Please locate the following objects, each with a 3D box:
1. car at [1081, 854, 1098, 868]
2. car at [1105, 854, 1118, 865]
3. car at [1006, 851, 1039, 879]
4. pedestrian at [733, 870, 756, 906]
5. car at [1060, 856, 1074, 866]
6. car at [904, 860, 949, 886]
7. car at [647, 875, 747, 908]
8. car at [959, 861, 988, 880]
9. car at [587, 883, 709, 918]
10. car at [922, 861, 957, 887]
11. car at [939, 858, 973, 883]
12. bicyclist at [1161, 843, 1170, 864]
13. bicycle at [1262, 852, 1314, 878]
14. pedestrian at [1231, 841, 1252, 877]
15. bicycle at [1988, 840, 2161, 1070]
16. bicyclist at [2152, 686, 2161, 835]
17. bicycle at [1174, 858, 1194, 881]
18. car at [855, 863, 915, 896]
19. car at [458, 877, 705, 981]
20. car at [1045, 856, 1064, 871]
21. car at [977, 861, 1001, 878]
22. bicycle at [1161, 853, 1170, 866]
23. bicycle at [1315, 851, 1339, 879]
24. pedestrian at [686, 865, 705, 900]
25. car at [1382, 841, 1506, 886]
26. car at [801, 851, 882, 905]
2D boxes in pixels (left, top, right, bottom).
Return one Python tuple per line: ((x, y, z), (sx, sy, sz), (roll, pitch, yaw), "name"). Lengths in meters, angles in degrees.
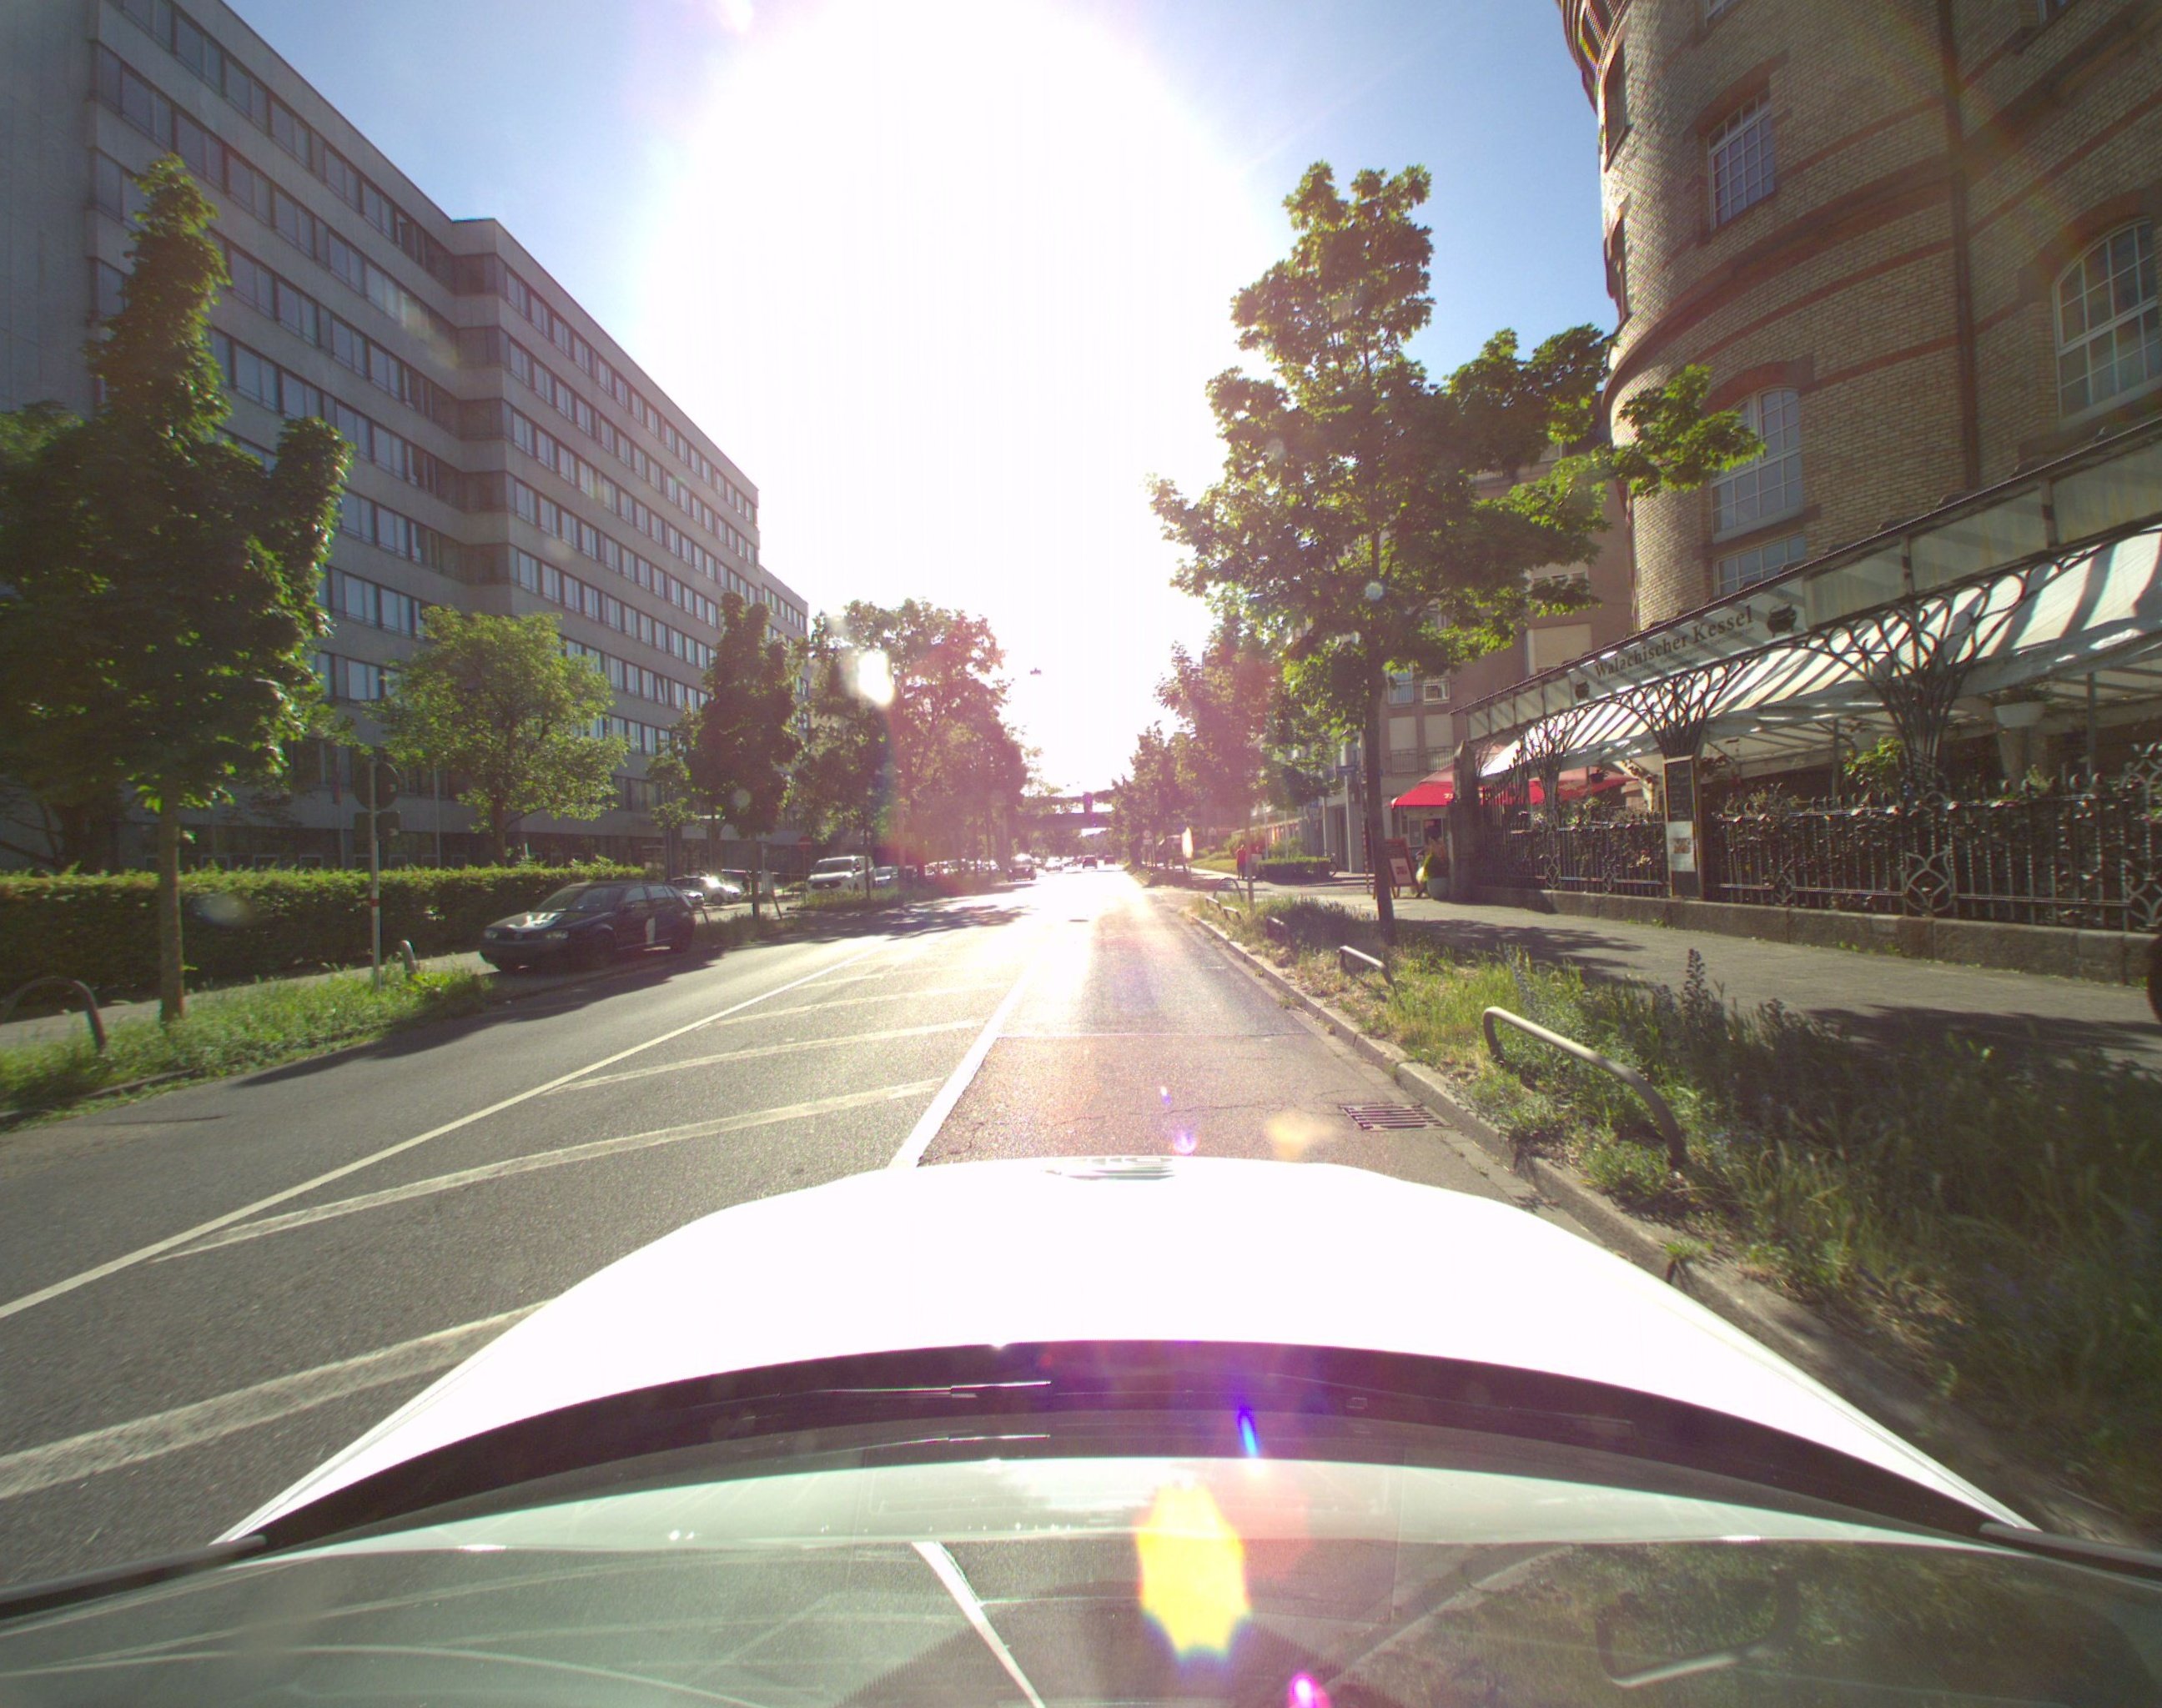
((0.975, 0.819, 96.028), (1.978, 1.600, 4.140), (-2, 0, 0), "car")
((4.533, 0.766, 120.337), (1.848, 1.523, 4.322), (-1, 0, 3), "car")
((-4.164, 0.749, 58.611), (1.850, 1.825, 4.610), (-4, 0, 0), "car")
((-19.291, 1.942, 46.719), (0.832, 2.014, 1.008), (-1, -1, 2), "pedestrian")
((-2.107, 1.018, 122.695), (1.849, 1.440, 4.319), (-4, 0, 1), "car")
((-9.836, 1.198, 52.046), (1.848, 1.523, 4.066), (-1, 0, 3), "car")
((-19.994, 1.926, 42.541), (4.292, 1.523, 1.861), (-1, 0, -2), "car")
((-9.285, 1.420, 70.763), (1.848, 1.568, 3.873), (-1, 0, 2), "car")
((-19.817, 2.120, 37.391), (4.589, 1.442, 1.941), (-1, 0, 6), "car")
((-9.868, 1.393, 57.041), (1.852, 1.684, 4.658), (-1, 0, -4), "car")
((-9.597, 1.231, 62.964), (1.849, 1.850, 4.562), (-1, 0, 1), "car")
((6.927, -0.053, 66.779), (0.665, 1.695, 0.889), (-1, -1, 0), "bicyclist")
((9.486, 0.515, 37.417), (2.186, 1.027, 0.688), (-4, 2, 3), "bicycle")
((7.393, 0.251, 37.578), (0.652, 1.604, 0.602), (-5, -1, -4), "pedestrian")
((5.195, 0.442, 3.298), (0.683, 1.027, 2.096), (-2, -1, 1), "bicycle")
((5.173, 0.032, 3.157), (0.698, 1.599, 0.955), (-2, -1, 0), "bicyclist")
((5.008, 0.737, 39.482), (0.586, 1.066, 2.032), (-2, 0, 18), "bicycle")
((-9.907, 1.252, 41.475), (1.774, 1.523, 4.322), (-1, 0, 3), "car")
((-8.627, 1.215, 14.559), (1.705, 1.458, 4.075), (-1, 0, 3), "car")
((-2.936, 1.035, 92.487), (1.849, 1.568, 4.716), (-4, 0, 1), "car")
((-9.049, 1.509, 80.558), (1.849, 1.523, 4.319), (-1, 0, 1), "car")
((6.929, 0.458, 66.795), (0.587, 1.027, 1.860), (-2, -1, 1), "bicycle")
((10.621, 0.464, 35.246), (0.681, 1.027, 2.209), (-3, 2, 10), "bicycle")
((-23.328, 1.742, 49.319), (0.768, 2.093, 0.792), (-1, -1, 3), "pedestrian")
((13.251, 0.362, 29.959), (3.915, 1.523, 1.869), (-1, 0, 14), "car")
((-10.477, 1.016, 36.113), (1.975, 2.076, 5.194), (-4, 0, -1), "car")
